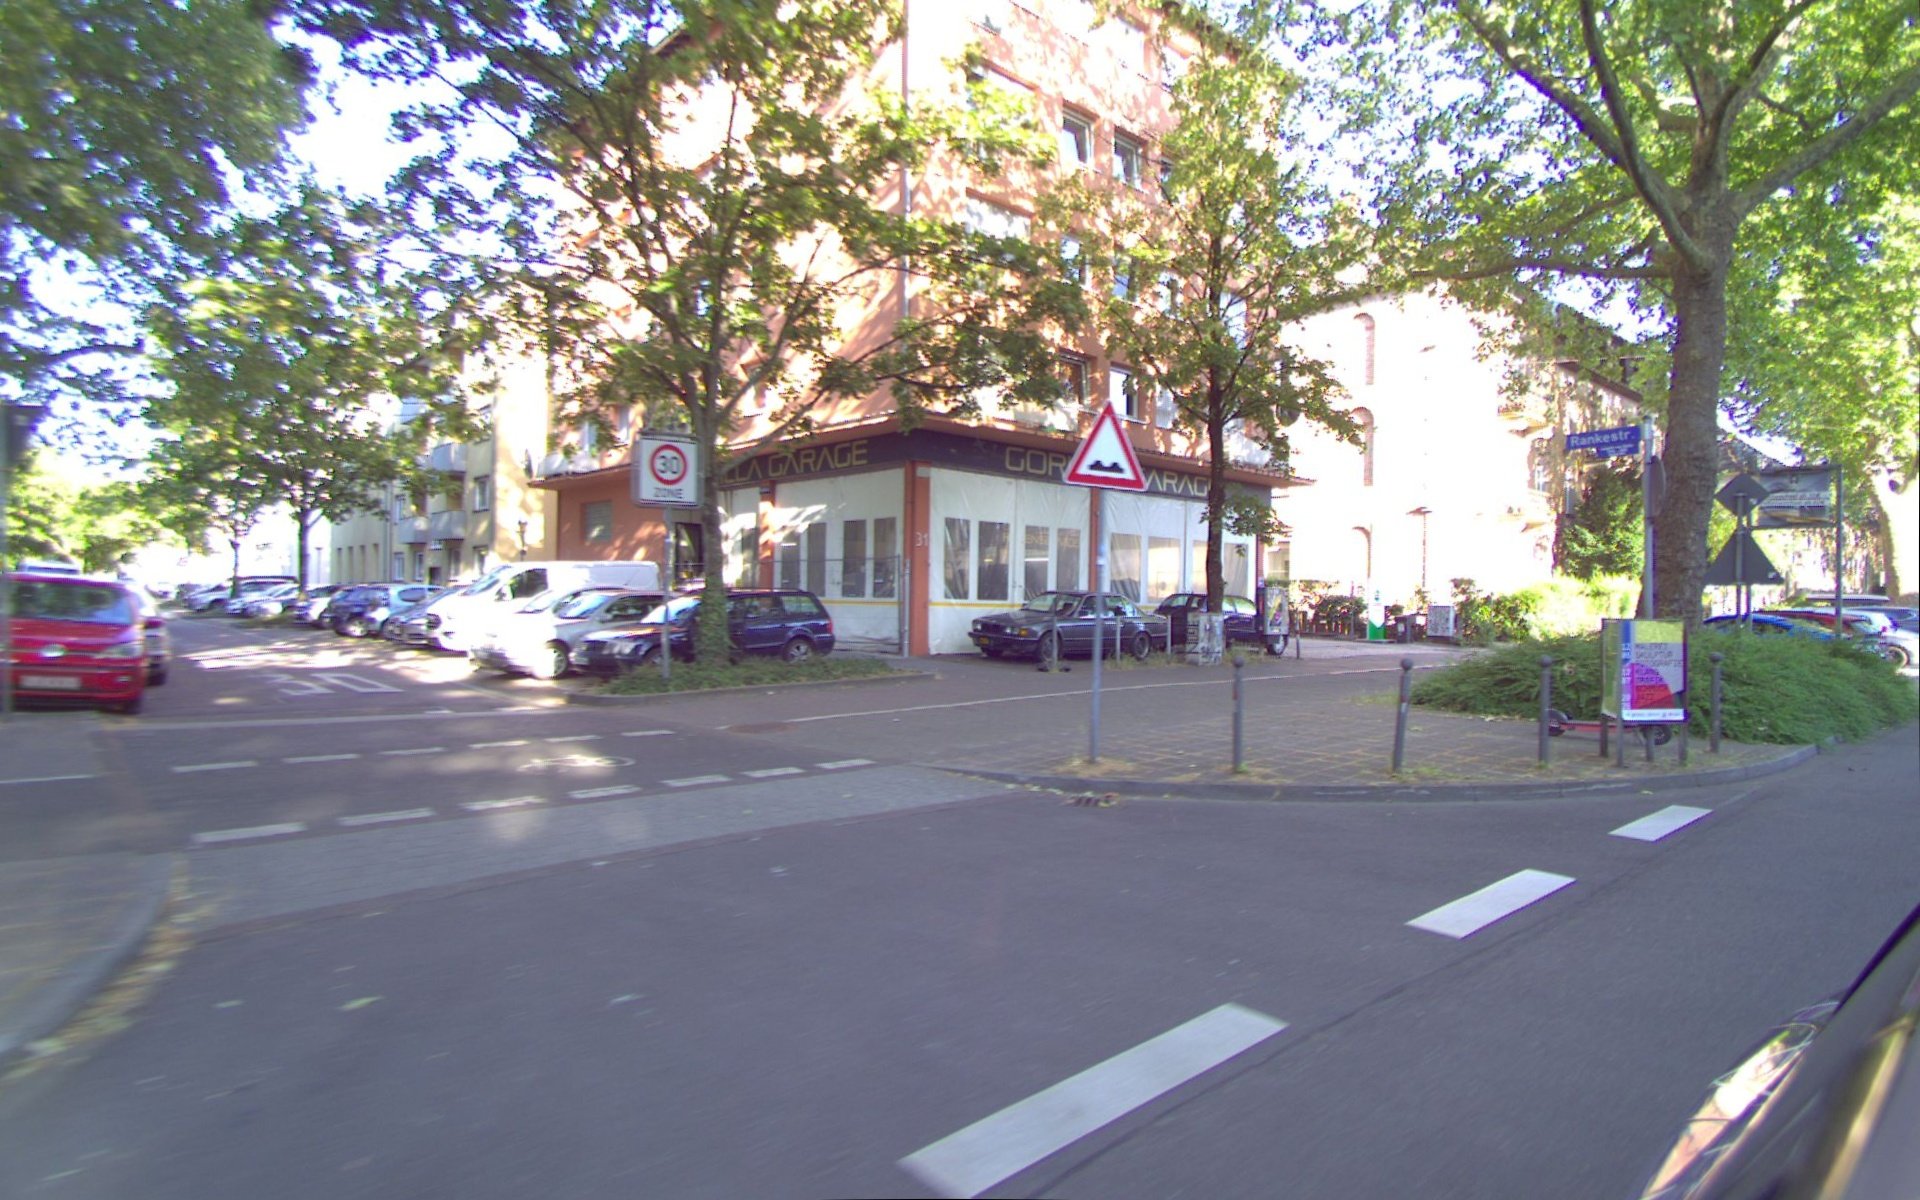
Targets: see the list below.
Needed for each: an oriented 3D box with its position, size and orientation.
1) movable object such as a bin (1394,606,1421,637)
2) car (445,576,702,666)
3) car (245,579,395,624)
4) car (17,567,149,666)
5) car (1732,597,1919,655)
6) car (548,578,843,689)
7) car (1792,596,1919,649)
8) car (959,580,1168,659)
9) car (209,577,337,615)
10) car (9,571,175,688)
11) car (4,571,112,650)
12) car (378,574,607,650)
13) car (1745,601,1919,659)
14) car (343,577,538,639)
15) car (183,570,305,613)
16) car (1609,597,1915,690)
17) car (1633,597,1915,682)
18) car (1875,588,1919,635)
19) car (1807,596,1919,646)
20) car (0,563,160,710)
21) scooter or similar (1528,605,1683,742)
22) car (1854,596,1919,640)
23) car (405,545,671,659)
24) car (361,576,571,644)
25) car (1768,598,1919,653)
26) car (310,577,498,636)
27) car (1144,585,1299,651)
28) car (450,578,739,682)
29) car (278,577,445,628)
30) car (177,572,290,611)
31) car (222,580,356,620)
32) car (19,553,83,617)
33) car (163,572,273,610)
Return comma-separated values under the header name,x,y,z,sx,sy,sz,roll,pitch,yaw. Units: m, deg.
name,x,y,z,sx,sy,sz,roll,pitch,yaw
movable object such as a bin,14.414,0.689,32.620,0.438,0.951,0.659,-1,1,-36
car,-7.661,0.366,20.376,1.790,1.594,4.503,2,1,45
car,-24.182,0.056,38.342,1.790,1.594,4.503,2,1,45
car,-16.007,0.227,18.439,1.655,1.601,3.923,1,1,-42
car,26.481,0.741,31.003,1.784,1.575,4.210,1,1,-38
car,-4.260,0.482,16.892,1.789,1.594,4.506,2,1,43
car,30.366,0.714,33.465,1.847,1.639,4.204,1,1,-43
car,2.218,0.352,20.829,4.389,1.453,1.752,0,1,-41
car,-30.768,-0.171,45.432,1.790,1.594,4.503,2,1,45
car,-12.782,0.341,14.875,1.655,1.470,3.923,1,1,-42
car,-20.156,0.167,22.618,1.655,1.601,3.923,1,1,-42
car,-10.799,0.256,23.601,1.790,1.594,4.503,2,1,45
car,25.163,0.803,28.785,1.786,1.466,4.207,1,1,-41
car,-14.351,0.198,28.129,1.790,1.594,4.503,2,1,45
car,-34.070,-0.382,48.231,1.790,1.931,4.503,2,1,45
car,15.668,0.763,20.033,1.782,1.562,4.419,1,1,-34
car,17.319,0.761,21.723,1.916,1.562,4.414,1,1,-38
car,44.045,0.572,44.990,2.158,2.038,4.851,1,2,-44
car,32.382,0.714,35.207,1.784,1.639,4.210,1,1,-38
car,-10.463,0.328,11.699,1.655,1.470,3.542,1,1,-42
scooter or similar,6.496,0.698,10.216,0.560,1.255,1.210,0,1,-42
car,37.422,0.730,39.336,1.760,1.639,3.787,1,2,-42
car,-9.055,0.031,22.058,5.000,2.212,1.913,1,1,-44
car,-12.505,0.228,25.823,1.790,1.594,4.503,2,1,45
car,28.531,0.772,32.129,1.784,1.594,4.210,1,1,-38
car,-16.194,0.175,29.629,1.790,1.594,4.503,2,1,45
car,6.429,0.411,24.697,3.881,1.453,1.752,0,1,-41
car,-6.353,0.459,17.990,1.789,1.594,4.506,2,1,43
car,-20.007,0.079,33.957,1.790,1.594,4.503,2,1,45
car,-37.179,-0.424,51.858,1.790,1.931,4.503,2,1,45
car,-28.616,-0.011,43.252,1.790,1.594,4.503,2,1,45
car,-39.108,-0.660,43.545,1.942,2.595,5.036,1,1,-42
car,-39.268,-0.451,53.623,1.790,1.931,4.503,2,1,45
